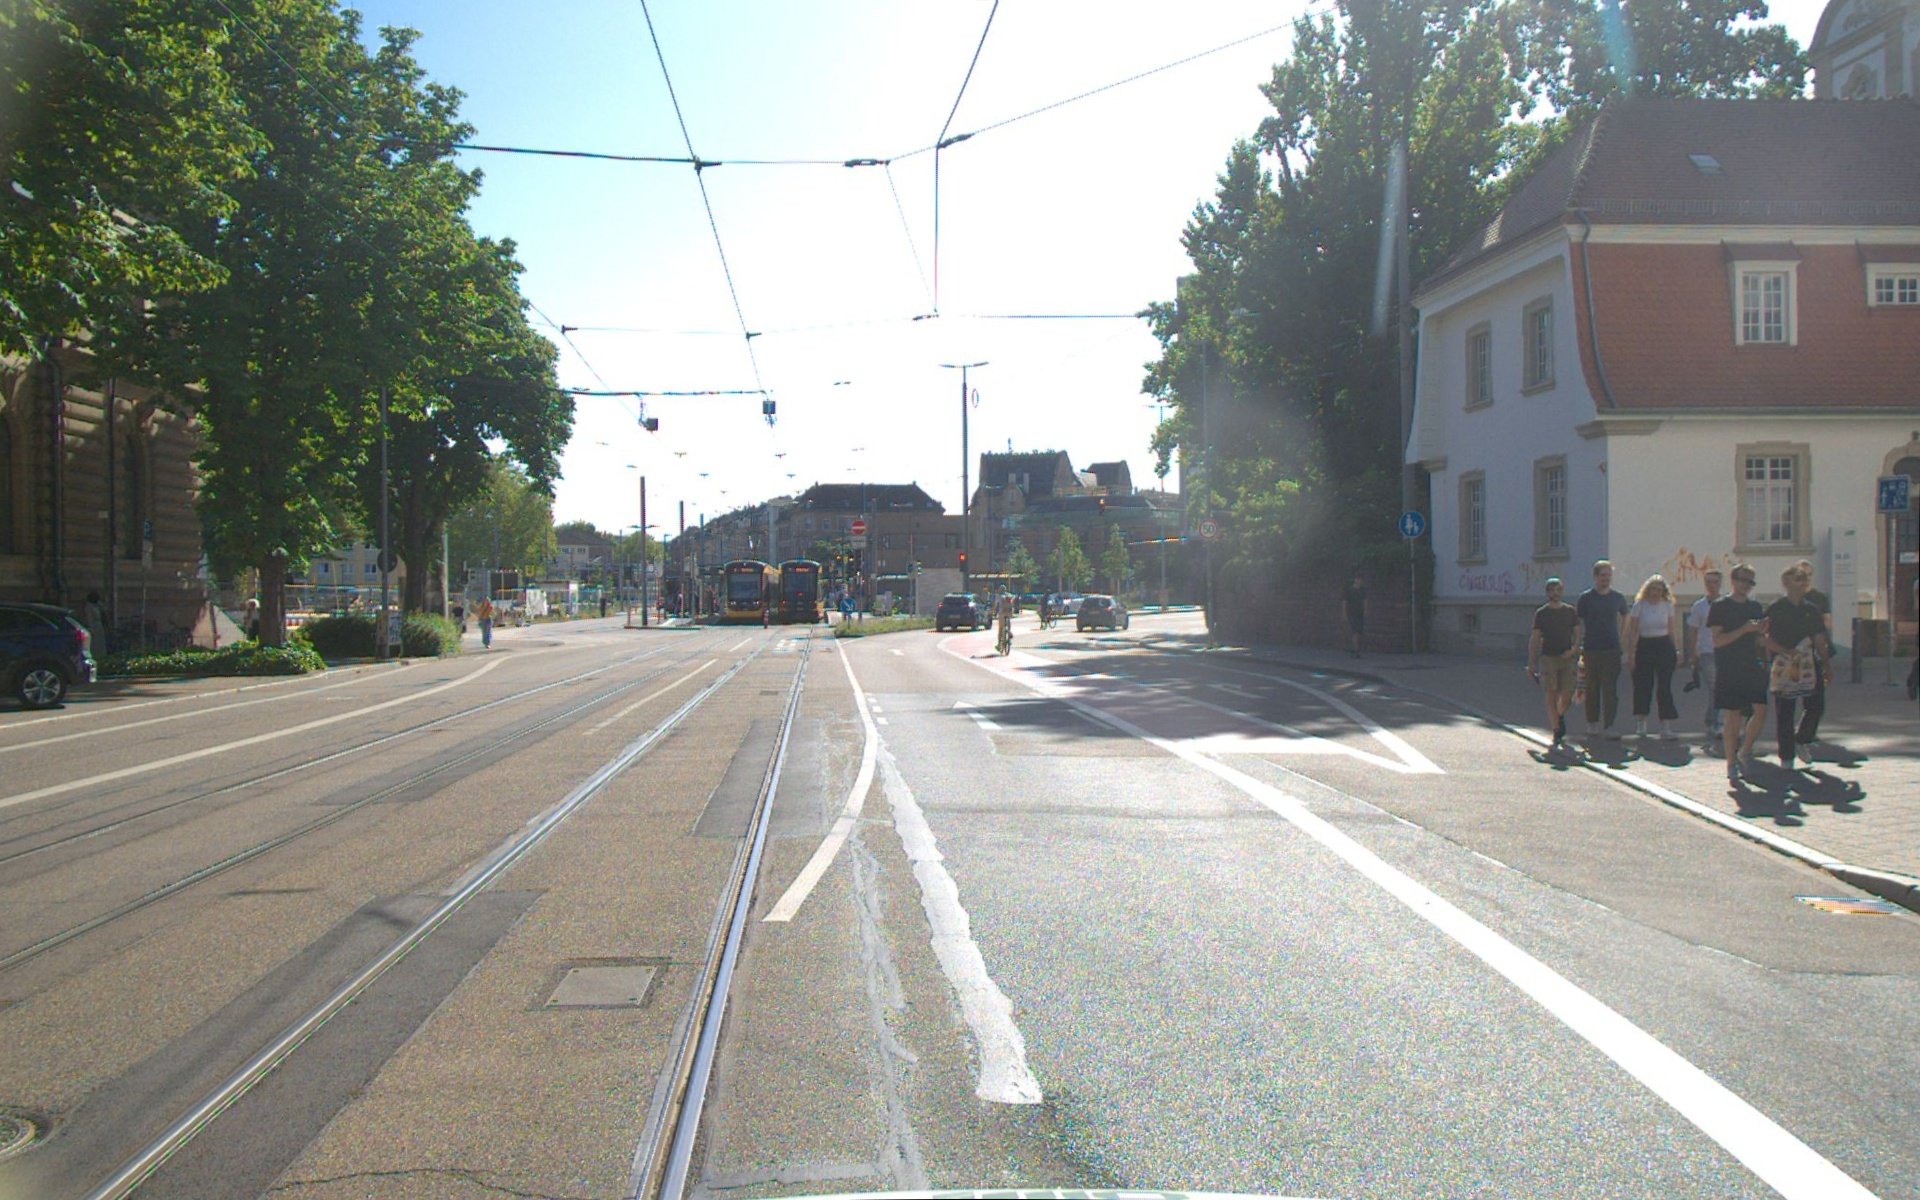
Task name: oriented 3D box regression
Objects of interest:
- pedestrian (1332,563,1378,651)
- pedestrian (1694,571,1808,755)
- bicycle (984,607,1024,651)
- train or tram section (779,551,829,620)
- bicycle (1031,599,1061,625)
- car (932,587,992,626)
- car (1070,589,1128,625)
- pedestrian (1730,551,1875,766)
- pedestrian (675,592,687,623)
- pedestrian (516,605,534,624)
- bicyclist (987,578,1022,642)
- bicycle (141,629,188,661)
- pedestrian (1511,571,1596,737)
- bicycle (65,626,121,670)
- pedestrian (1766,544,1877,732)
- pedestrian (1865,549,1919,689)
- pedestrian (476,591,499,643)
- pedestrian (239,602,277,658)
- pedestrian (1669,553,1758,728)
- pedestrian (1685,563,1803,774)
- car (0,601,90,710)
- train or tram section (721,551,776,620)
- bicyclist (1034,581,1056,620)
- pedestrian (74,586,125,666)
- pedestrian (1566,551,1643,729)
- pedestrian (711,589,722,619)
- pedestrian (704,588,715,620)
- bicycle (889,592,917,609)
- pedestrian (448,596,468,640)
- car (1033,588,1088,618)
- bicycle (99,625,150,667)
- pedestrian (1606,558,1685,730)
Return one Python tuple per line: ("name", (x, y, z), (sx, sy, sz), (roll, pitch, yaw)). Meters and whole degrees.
("pedestrian", (8.969, 0.160, 37.569), (0.625, 1.937, 1.134), (-3, 0, -4))
("pedestrian", (7.476, 0.584, 15.680), (0.812, 1.632, 0.893), (-5, 0, 24))
("bicycle", (1.191, 0.757, 44.563), (0.690, 1.124, 1.718), (1, 1, 15))
("train or tram section", (-9.197, -0.871, 97.428), (2.689, 3.715, 13.770), (-1, 1, -6))
("bicycle", (3.873, 0.520, 74.155), (0.690, 1.073, 2.314), (2, 1, 19))
("car", (0.107, 0.245, 71.145), (1.751, 1.632, 3.716), (1, 1, 14))
("car", (6.154, 0.278, 72.812), (1.751, 1.537, 3.714), (1, 1, 18))
("pedestrian", (7.476, 0.504, 14.714), (0.634, 1.793, 0.955), (-5, 0, -2))
("pedestrian", (-17.151, 0.472, 101.690), (0.614, 1.859, 0.661), (-1, 0, -6))
("pedestrian", (-24.573, 0.832, 93.490), (0.880, 1.064, 0.655), (-1, 0, -4))
("bicyclist", (1.195, 0.262, 44.556), (0.690, 1.704, 1.102), (1, 1, 15))
("bicycle", (-19.953, 1.121, 41.515), (0.471, 0.737, 1.618), (-1, 0, -4))
("pedestrian", (6.603, 0.587, 18.431), (0.594, 1.777, 0.718), (-4, 0, 3))
("bicycle", (-19.502, 1.068, 37.229), (0.471, 0.933, 1.618), (-1, 0, -4))
("pedestrian", (8.772, 0.375, 16.864), (0.643, 1.833, 0.732), (-4, 0, 3))
("pedestrian", (11.816, 0.232, 20.193), (0.975, 1.669, 0.856), (-1, -2, -17))
("pedestrian", (-16.059, 0.566, 56.210), (0.627, 1.726, 0.814), (-2, 0, -21))
("pedestrian", (-19.397, 0.825, 45.704), (0.910, 1.531, 0.699), (-1, 0, -27))
("pedestrian", (8.094, 0.424, 17.783), (0.597, 1.805, 0.653), (-5, 0, 11))
("pedestrian", (6.845, 0.581, 14.475), (0.485, 1.757, 0.816), (-5, 0, -1))
("car", (-15.066, 0.806, 24.293), (3.949, 1.577, 1.857), (0, 0, -33))
("train or tram section", (-12.269, -0.845, 96.755), (2.689, 3.715, 13.770), (-1, 1, -6))
("bicyclist", (3.821, 0.027, 73.971), (0.690, 1.730, 0.987), (2, 1, 20))
("pedestrian", (-18.408, 0.546, 35.377), (0.687, 1.663, 0.758), (1, 0, -5))
("pedestrian", (7.231, 0.442, 18.572), (0.508, 1.935, 0.612), (-4, 0, 3))
("pedestrian", (-15.407, 0.246, 104.728), (0.614, 1.859, 0.661), (-1, 0, -6))
("pedestrian", (-15.014, 0.245, 99.107), (0.614, 1.859, 0.661), (-1, 0, -6))
("bicycle", (-3.939, 0.009, 113.840), (1.897, 1.122, 0.598), (-1, 1, -7))
("pedestrian", (-19.828, 0.703, 65.353), (0.606, 1.726, 0.678), (-1, 0, -5))
("car", (5.729, 0.140, 93.923), (1.670, 1.672, 3.705), (1, 1, 30))
("bicycle", (-19.666, 1.077, 38.967), (0.471, 0.933, 1.618), (-1, 0, -4))
("pedestrian", (7.532, 0.475, 18.168), (0.519, 1.805, 0.733), (-5, 0, 36))
